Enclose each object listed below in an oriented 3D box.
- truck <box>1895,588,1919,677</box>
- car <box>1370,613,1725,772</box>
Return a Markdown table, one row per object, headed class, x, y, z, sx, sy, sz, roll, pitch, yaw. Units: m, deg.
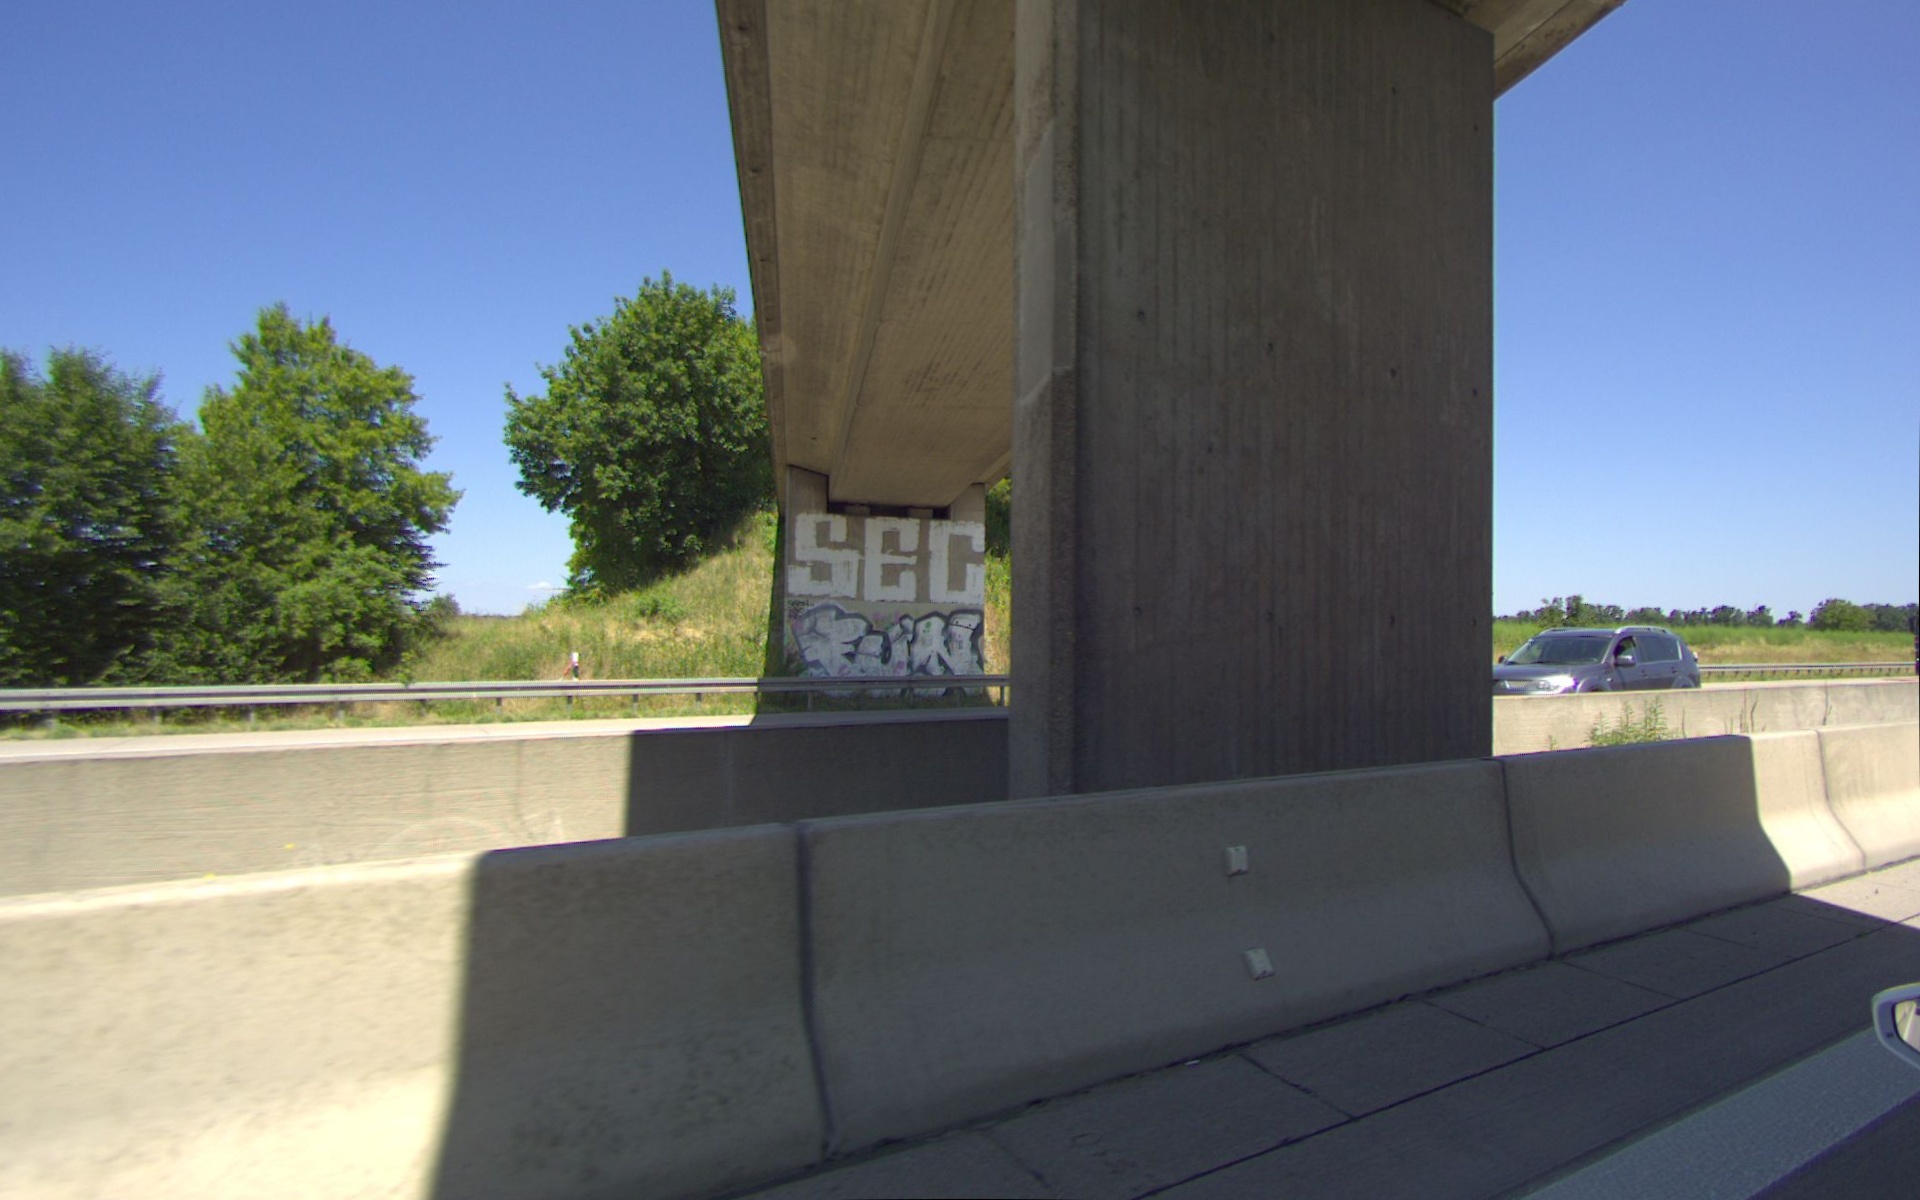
| class | x | y | z | sx | sy | sz | roll | pitch | yaw |
| --- | --- | --- | --- | --- | --- | --- | --- | --- | --- |
| truck | 47.676 | 1.563 | 47.815 | 6.390 | 4.144 | 2.967 | 2 | -2 | -31 |
| car | 9.188 | 1.303 | 15.576 | 5.589 | 2.040 | 2.295 | 2 | 0 | -30 |
